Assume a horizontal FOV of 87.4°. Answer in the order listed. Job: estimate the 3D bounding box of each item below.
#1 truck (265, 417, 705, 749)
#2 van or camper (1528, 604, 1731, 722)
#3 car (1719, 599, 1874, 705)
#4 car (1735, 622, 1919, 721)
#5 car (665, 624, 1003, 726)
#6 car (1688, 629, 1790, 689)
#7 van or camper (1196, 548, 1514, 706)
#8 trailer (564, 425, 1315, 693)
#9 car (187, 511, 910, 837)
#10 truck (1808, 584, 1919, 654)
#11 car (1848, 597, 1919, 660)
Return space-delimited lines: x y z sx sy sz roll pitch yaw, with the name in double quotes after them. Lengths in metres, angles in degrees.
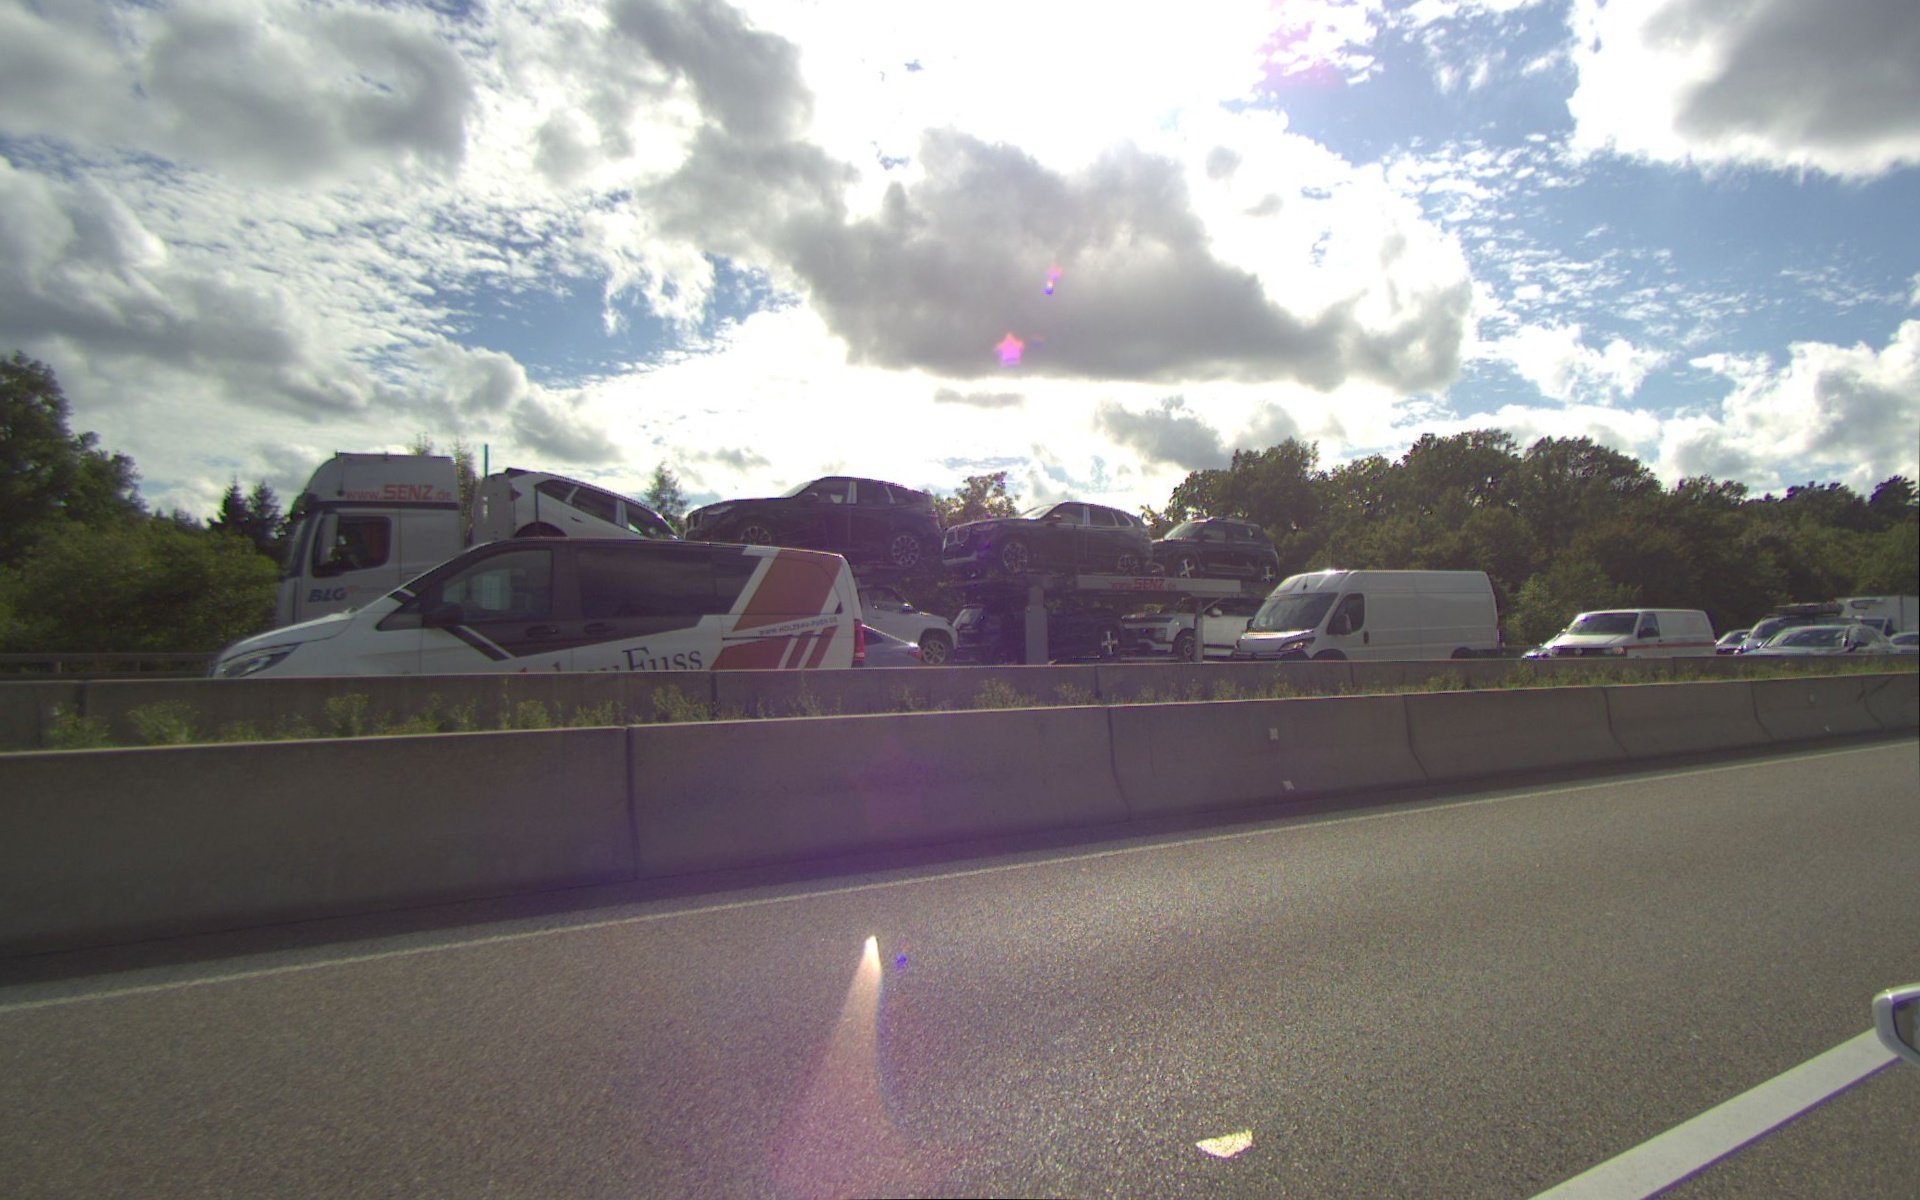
-7.185 -0.171 15.631 5.646 4.291 2.839 1 0 -30 "truck"
17.286 1.584 25.849 5.683 2.747 2.035 3 -1 -30 "van or camper"
25.990 1.539 31.157 5.340 3.003 1.983 1 1 -31 "car"
19.664 1.580 22.649 4.358 2.040 1.984 3 -2 -30 "car"
-1.763 1.025 14.580 4.514 1.247 1.823 2 -1 -31 "car"
28.639 2.166 36.891 3.955 2.040 1.634 3 -1 -31 "car"
8.051 0.594 20.216 6.554 2.747 2.380 3 -1 -30 "van or camper"
0.651 -0.309 20.360 15.821 4.027 2.816 3 -1 -31 "trailer"
-3.230 0.579 8.734 5.216 2.127 1.984 3 -1 -30 "car"
40.377 0.849 44.101 7.857 2.839 2.316 1 1 -31 "truck"
32.321 1.001 34.116 4.605 2.040 1.983 3 -1 -31 "car"
